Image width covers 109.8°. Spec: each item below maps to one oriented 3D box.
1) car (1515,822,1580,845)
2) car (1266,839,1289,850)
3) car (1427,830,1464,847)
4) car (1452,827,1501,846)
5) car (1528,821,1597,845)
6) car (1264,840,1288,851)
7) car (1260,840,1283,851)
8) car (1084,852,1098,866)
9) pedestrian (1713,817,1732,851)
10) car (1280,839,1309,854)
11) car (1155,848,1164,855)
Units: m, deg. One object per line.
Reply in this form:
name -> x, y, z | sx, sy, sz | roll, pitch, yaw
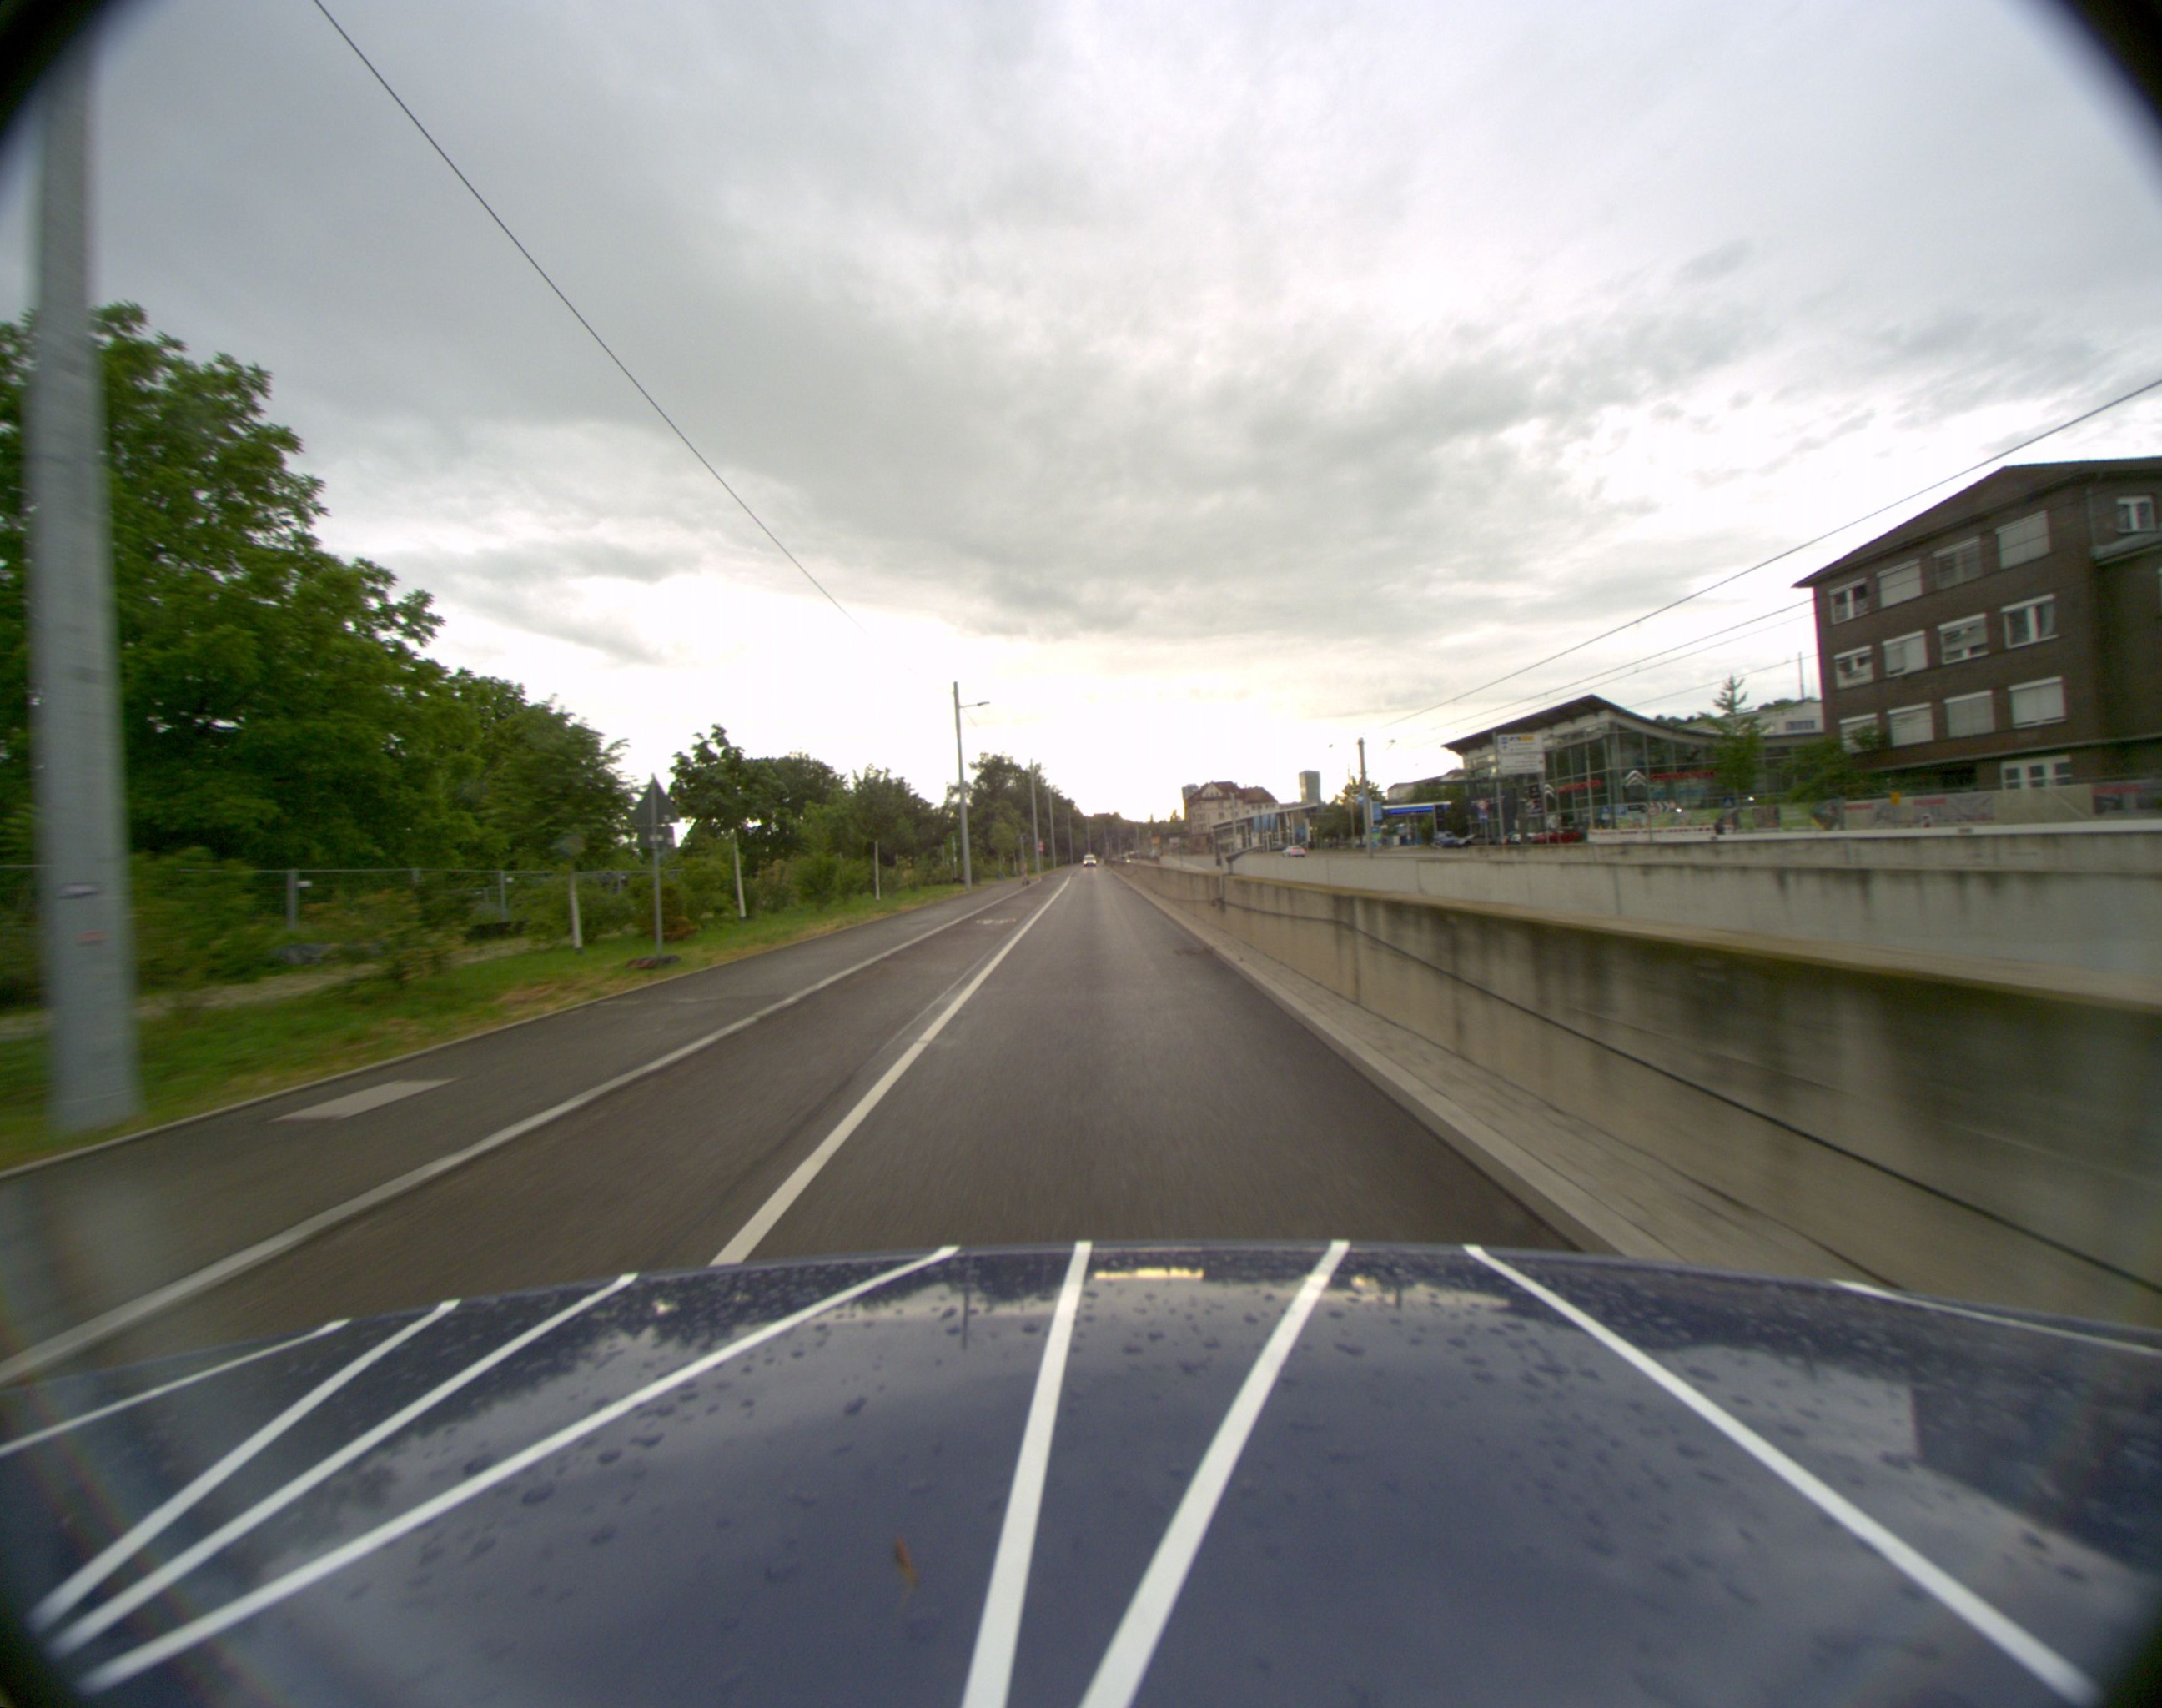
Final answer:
car -> 41.968, -1.804, 68.410 | 4.576, 1.750, 2.000 | -3, 0, 0
car -> 38.985, -1.813, 150.977 | 3.996, 2.002, 2.000 | -3, 0, 2
car -> 40.055, -1.681, 83.618 | 1.999, 1.761, 3.999 | -3, 0, -1
car -> 40.998, -1.787, 78.818 | 3.997, 1.761, 2.000 | -3, 0, 1
car -> 41.733, -1.833, 65.931 | 4.576, 1.750, 2.000 | -3, 0, 0
car -> 38.112, -1.639, 148.673 | 3.996, 2.002, 2.000 | -3, 0, 2
car -> 38.561, -1.712, 153.944 | 3.996, 2.002, 2.000 | -3, 0, 2
car -> 1.478, 0.712, 113.430 | 1.998, 2.002, 4.000 | -2, 0, 0
pedestrian -> 37.774, -1.172, 44.757 | 0.581, 2.002, 0.728 | -3, 1, -37
car -> 26.929, -0.891, 96.043 | 2.119, 1.706, 4.579 | -3, 0, -2
car -> 25.638, -0.752, 248.270 | 2.271, 2.002, 4.000 | -3, 0, 0
